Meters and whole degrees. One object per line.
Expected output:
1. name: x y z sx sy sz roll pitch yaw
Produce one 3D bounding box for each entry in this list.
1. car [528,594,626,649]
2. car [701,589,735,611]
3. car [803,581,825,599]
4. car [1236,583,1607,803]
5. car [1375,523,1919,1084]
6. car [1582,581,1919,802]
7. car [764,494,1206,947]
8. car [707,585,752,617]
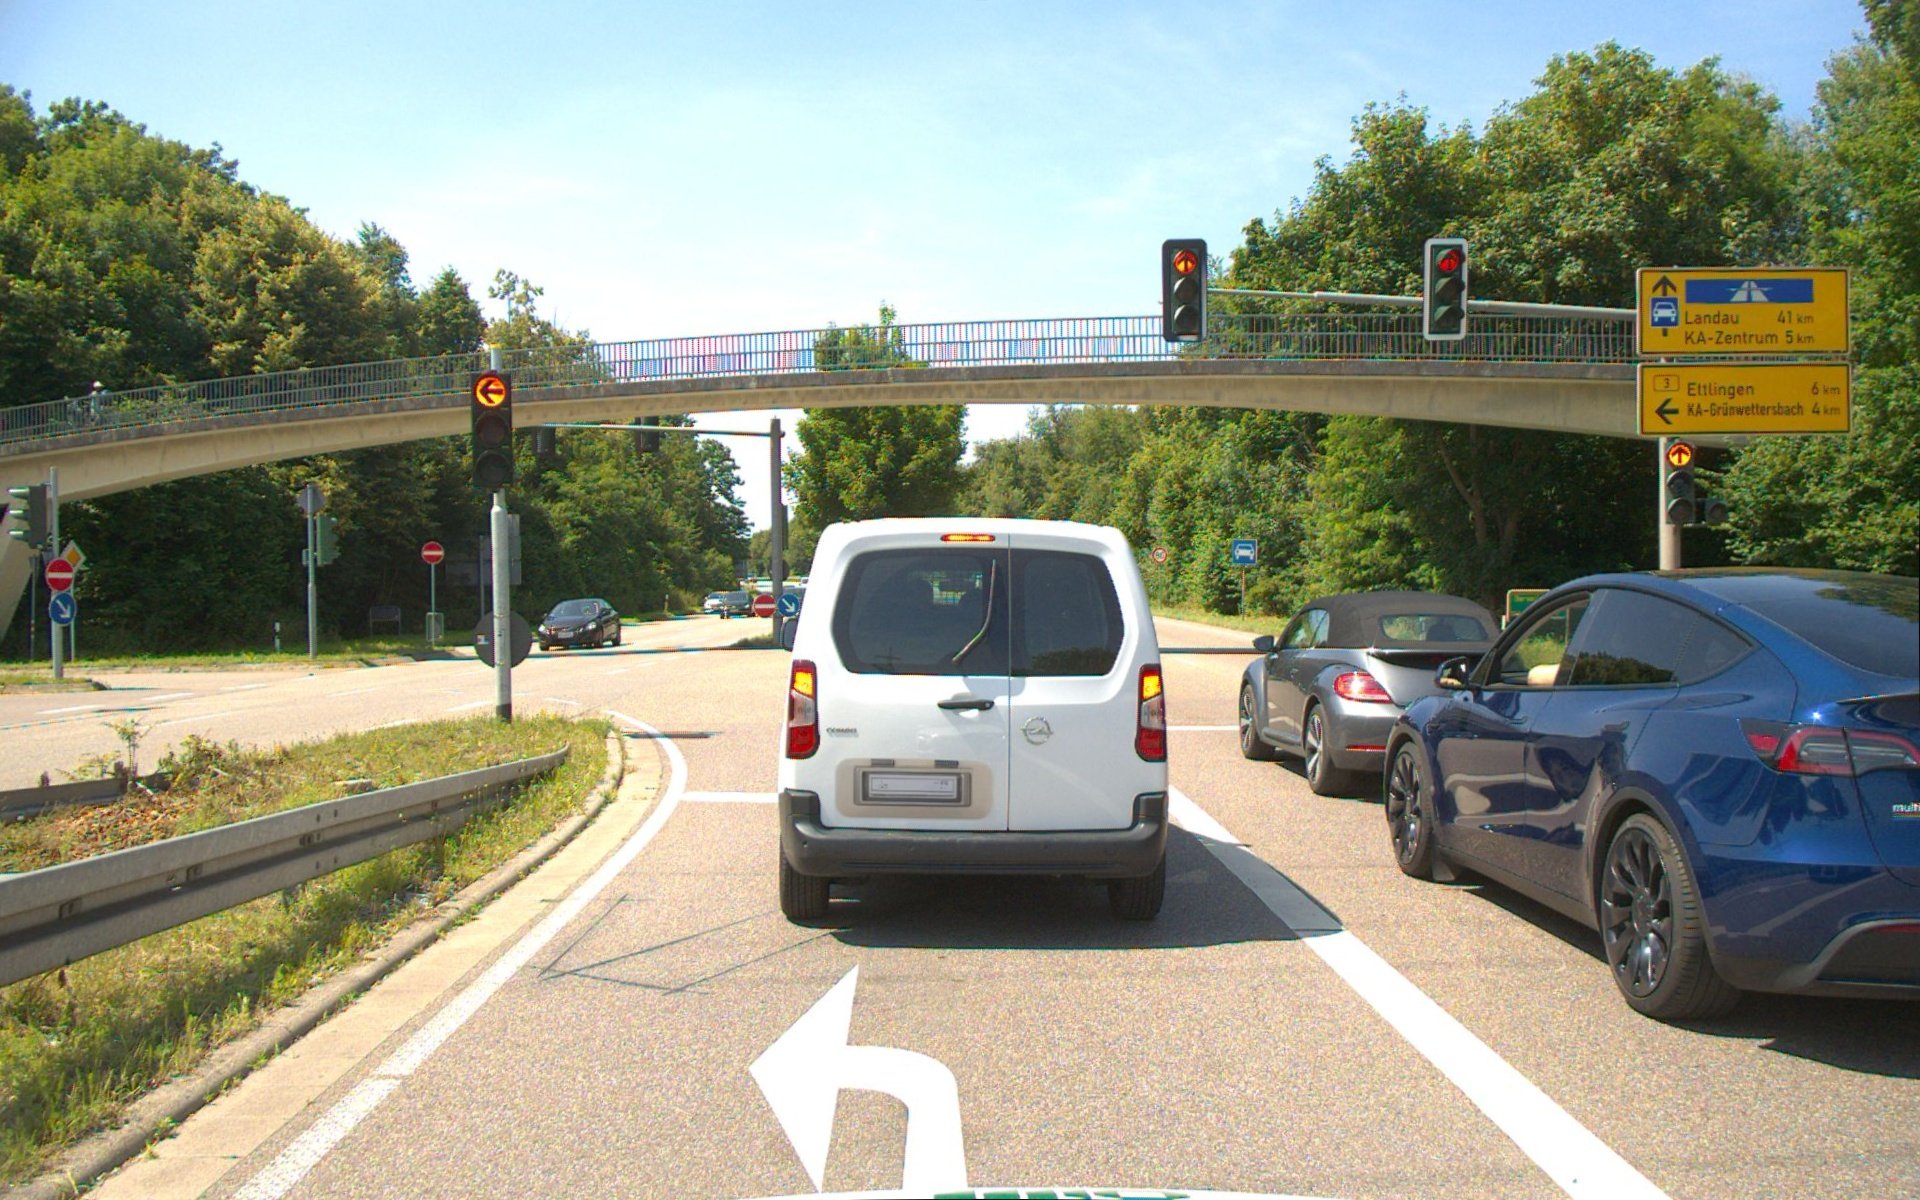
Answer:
1. car: -11.363 0.599 49.317 1.967 1.486 4.054 -2 0 -1
2. car: -16.135 -0.007 110.548 1.717 1.431 4.000 -1 1 -1
3. car: -14.795 -1.014 167.698 1.953 1.694 4.000 -1 1 -1
4. car: 3.525 0.625 13.423 1.861 1.503 3.938 1 1 -1
5. car: 3.342 0.597 7.218 1.861 1.673 4.519 1 1 -1
6. car: 6.870 0.613 13.517 1.861 1.503 4.380 1 1 -1
7. car: 0.055 0.464 8.844 1.812 1.857 3.980 1 1 -2
8. car: -12.994 0.037 93.453 1.953 1.694 4.000 -1 1 -1
